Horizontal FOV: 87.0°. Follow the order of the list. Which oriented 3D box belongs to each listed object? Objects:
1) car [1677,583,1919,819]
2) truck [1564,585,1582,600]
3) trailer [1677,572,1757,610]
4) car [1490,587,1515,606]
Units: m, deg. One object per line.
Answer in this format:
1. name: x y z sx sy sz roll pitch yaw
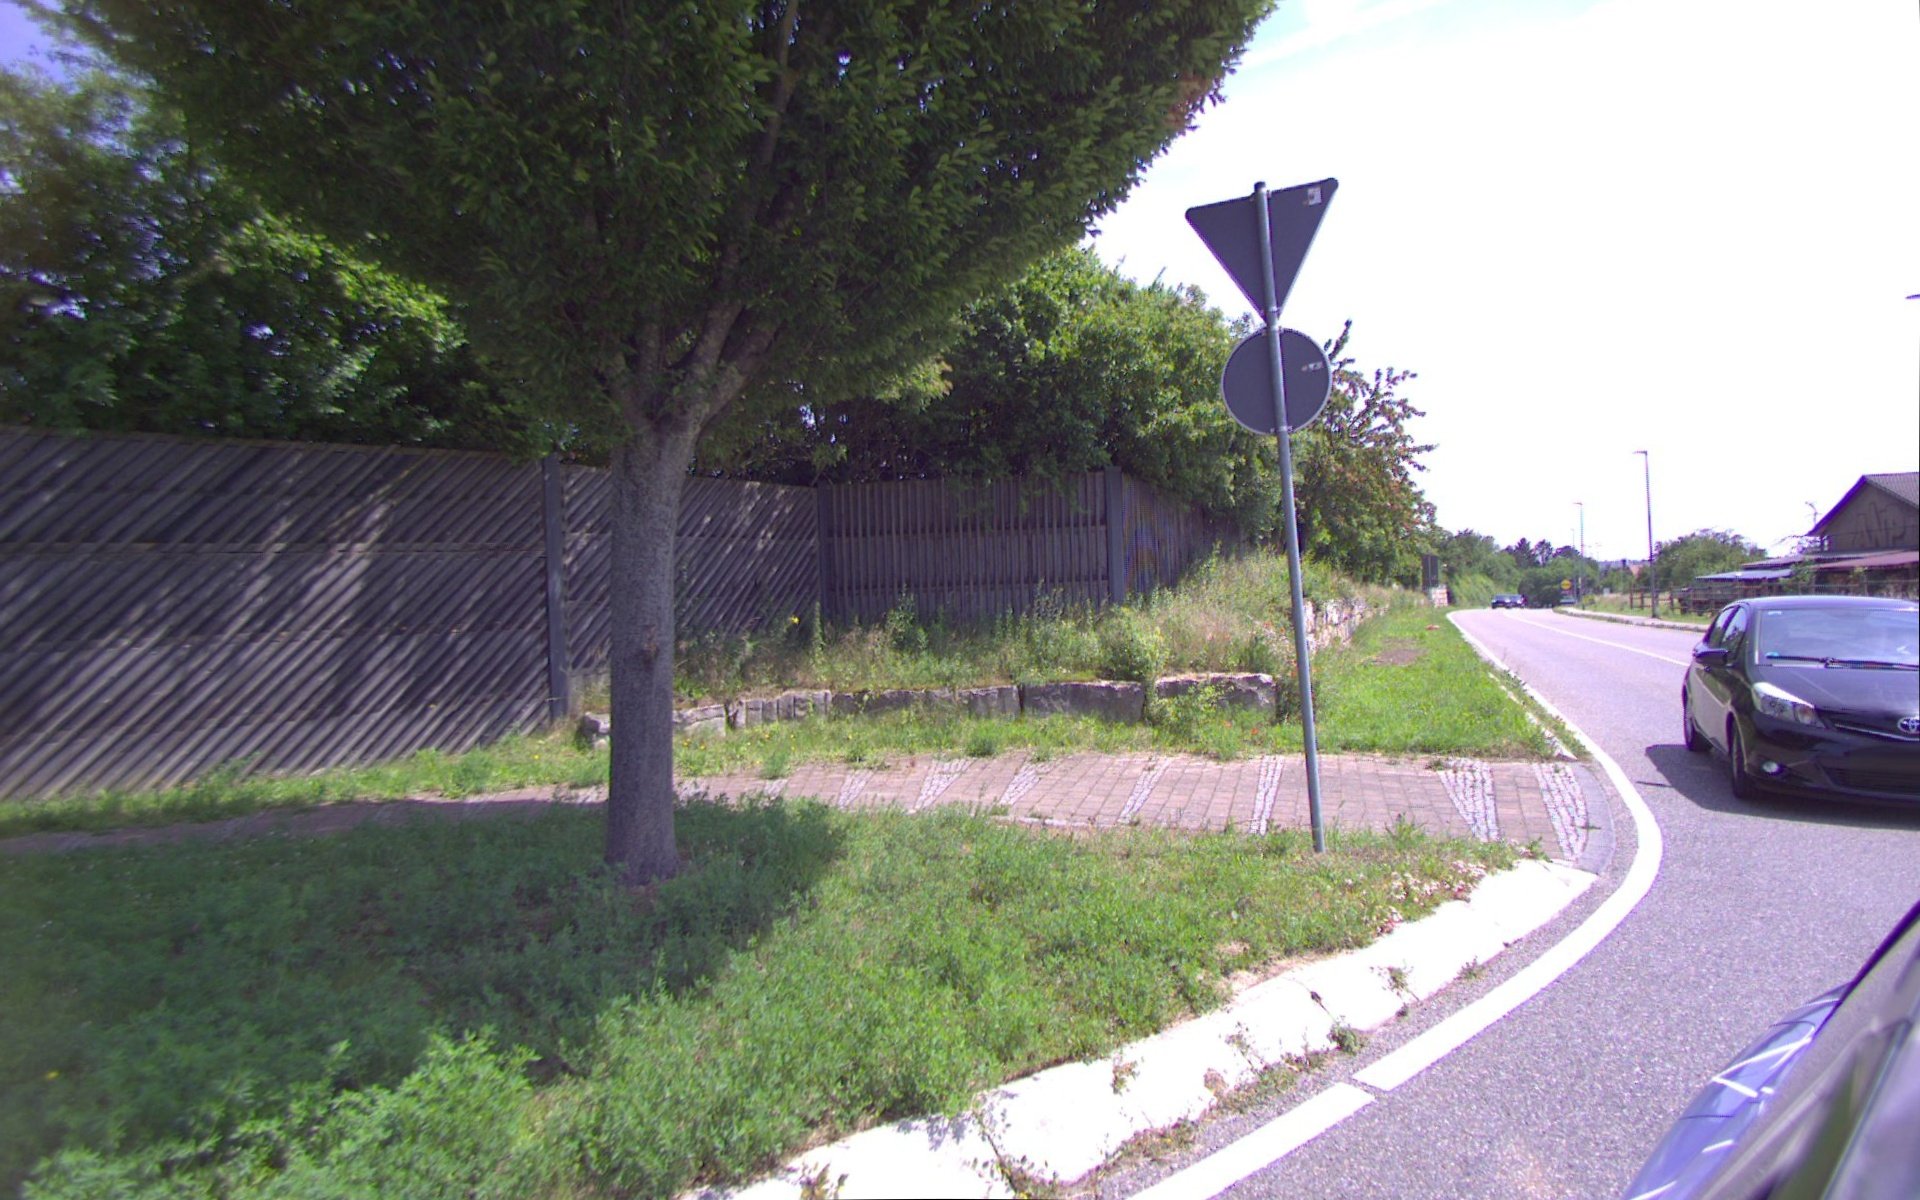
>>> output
1. car: 7.163 0.613 8.306 1.664 1.483 4.386 0 1 30
2. truck: 95.439 -1.191 157.644 2.211 2.322 6.421 -1 0 31
3. trailer: 37.212 -0.434 49.895 2.139 1.724 4.985 -1 0 25
4. car: 60.554 -0.410 113.020 2.170 2.039 4.739 -4 -1 26
